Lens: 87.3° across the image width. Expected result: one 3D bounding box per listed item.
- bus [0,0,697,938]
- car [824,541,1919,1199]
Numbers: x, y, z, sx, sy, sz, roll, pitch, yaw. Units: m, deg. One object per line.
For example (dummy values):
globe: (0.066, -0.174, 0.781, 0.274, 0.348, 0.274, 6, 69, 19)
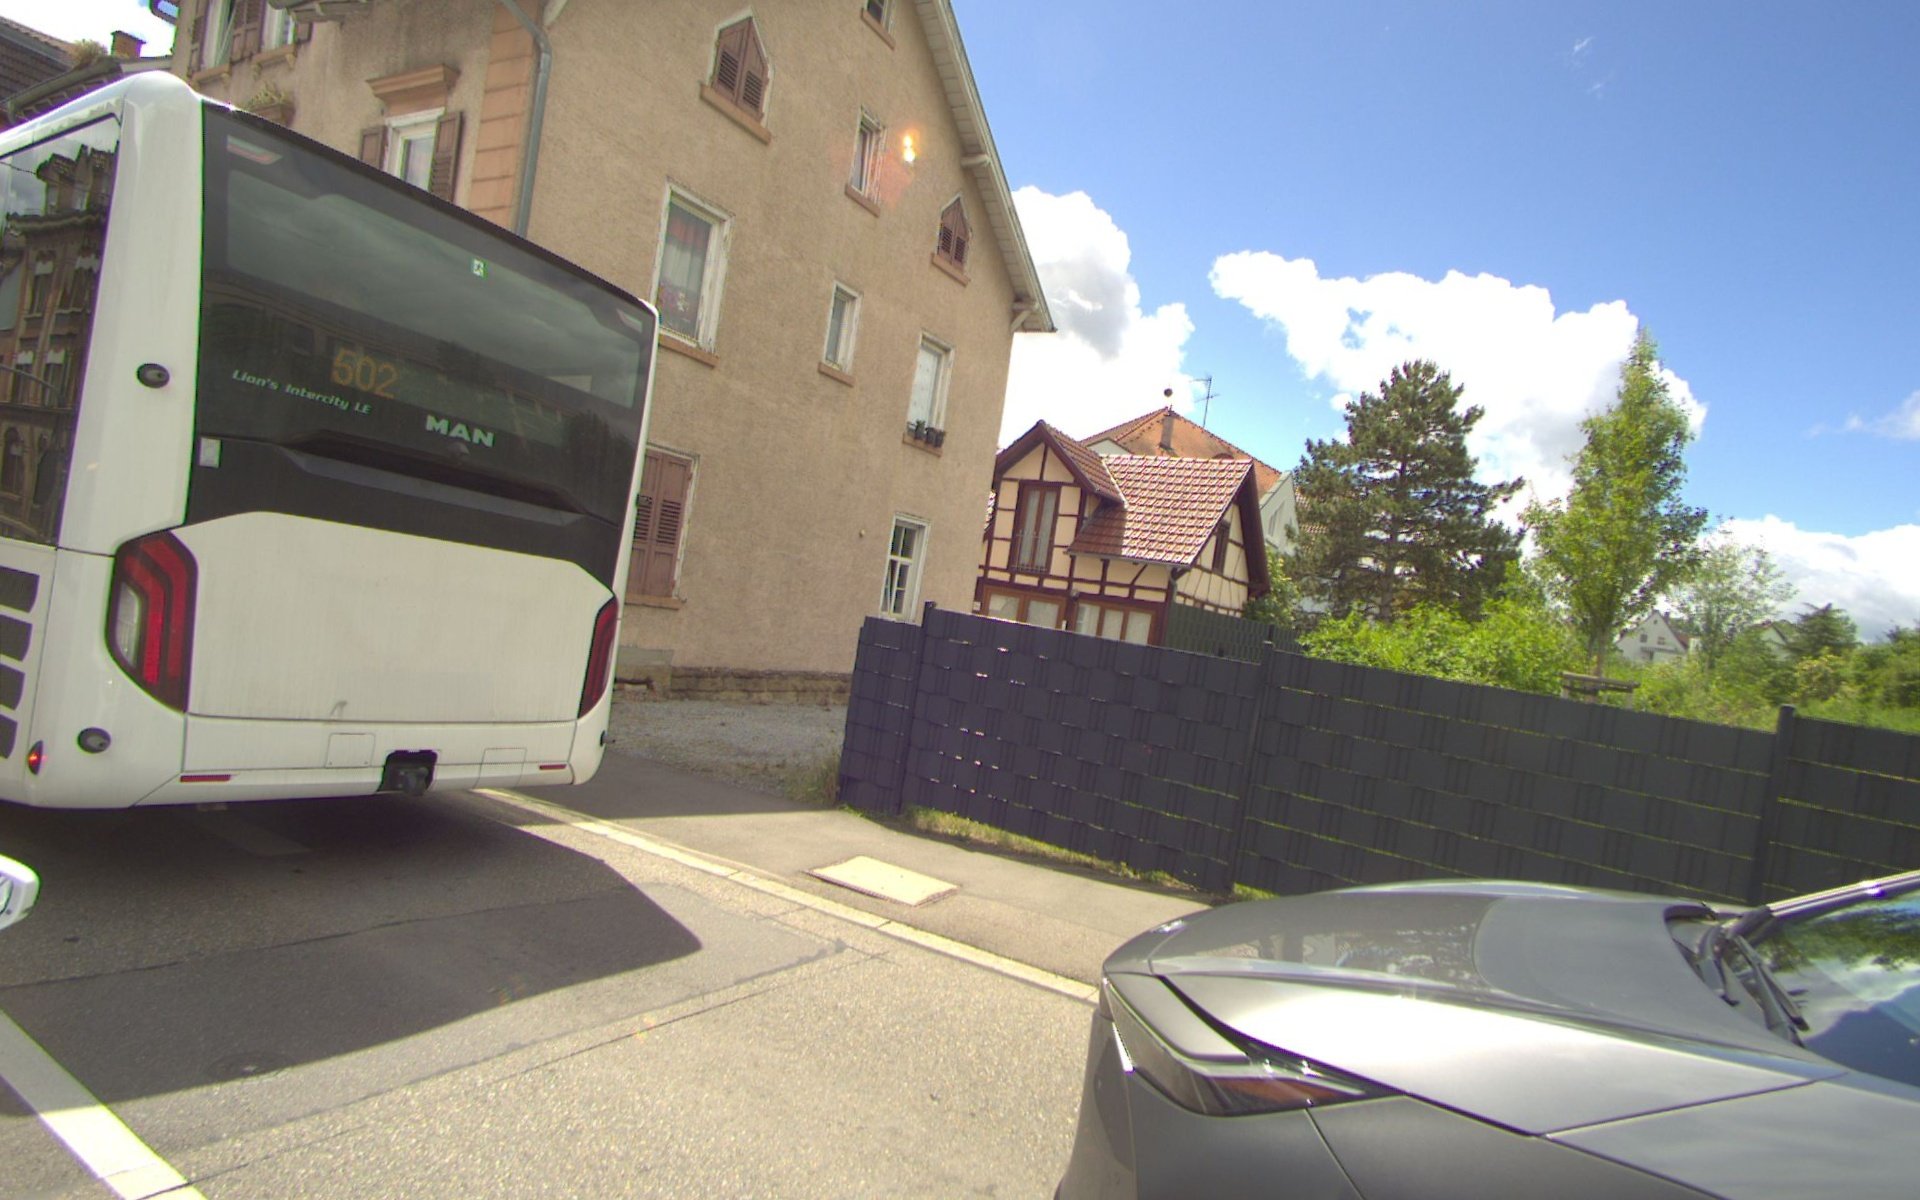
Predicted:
bus: (-7.498, -0.945, 7.728, 12.256, 3.194, 2.676, 7, 0, 32)
car: (2.238, 1.055, 1.386, 4.605, 1.631, 1.924, 7, -2, 32)
